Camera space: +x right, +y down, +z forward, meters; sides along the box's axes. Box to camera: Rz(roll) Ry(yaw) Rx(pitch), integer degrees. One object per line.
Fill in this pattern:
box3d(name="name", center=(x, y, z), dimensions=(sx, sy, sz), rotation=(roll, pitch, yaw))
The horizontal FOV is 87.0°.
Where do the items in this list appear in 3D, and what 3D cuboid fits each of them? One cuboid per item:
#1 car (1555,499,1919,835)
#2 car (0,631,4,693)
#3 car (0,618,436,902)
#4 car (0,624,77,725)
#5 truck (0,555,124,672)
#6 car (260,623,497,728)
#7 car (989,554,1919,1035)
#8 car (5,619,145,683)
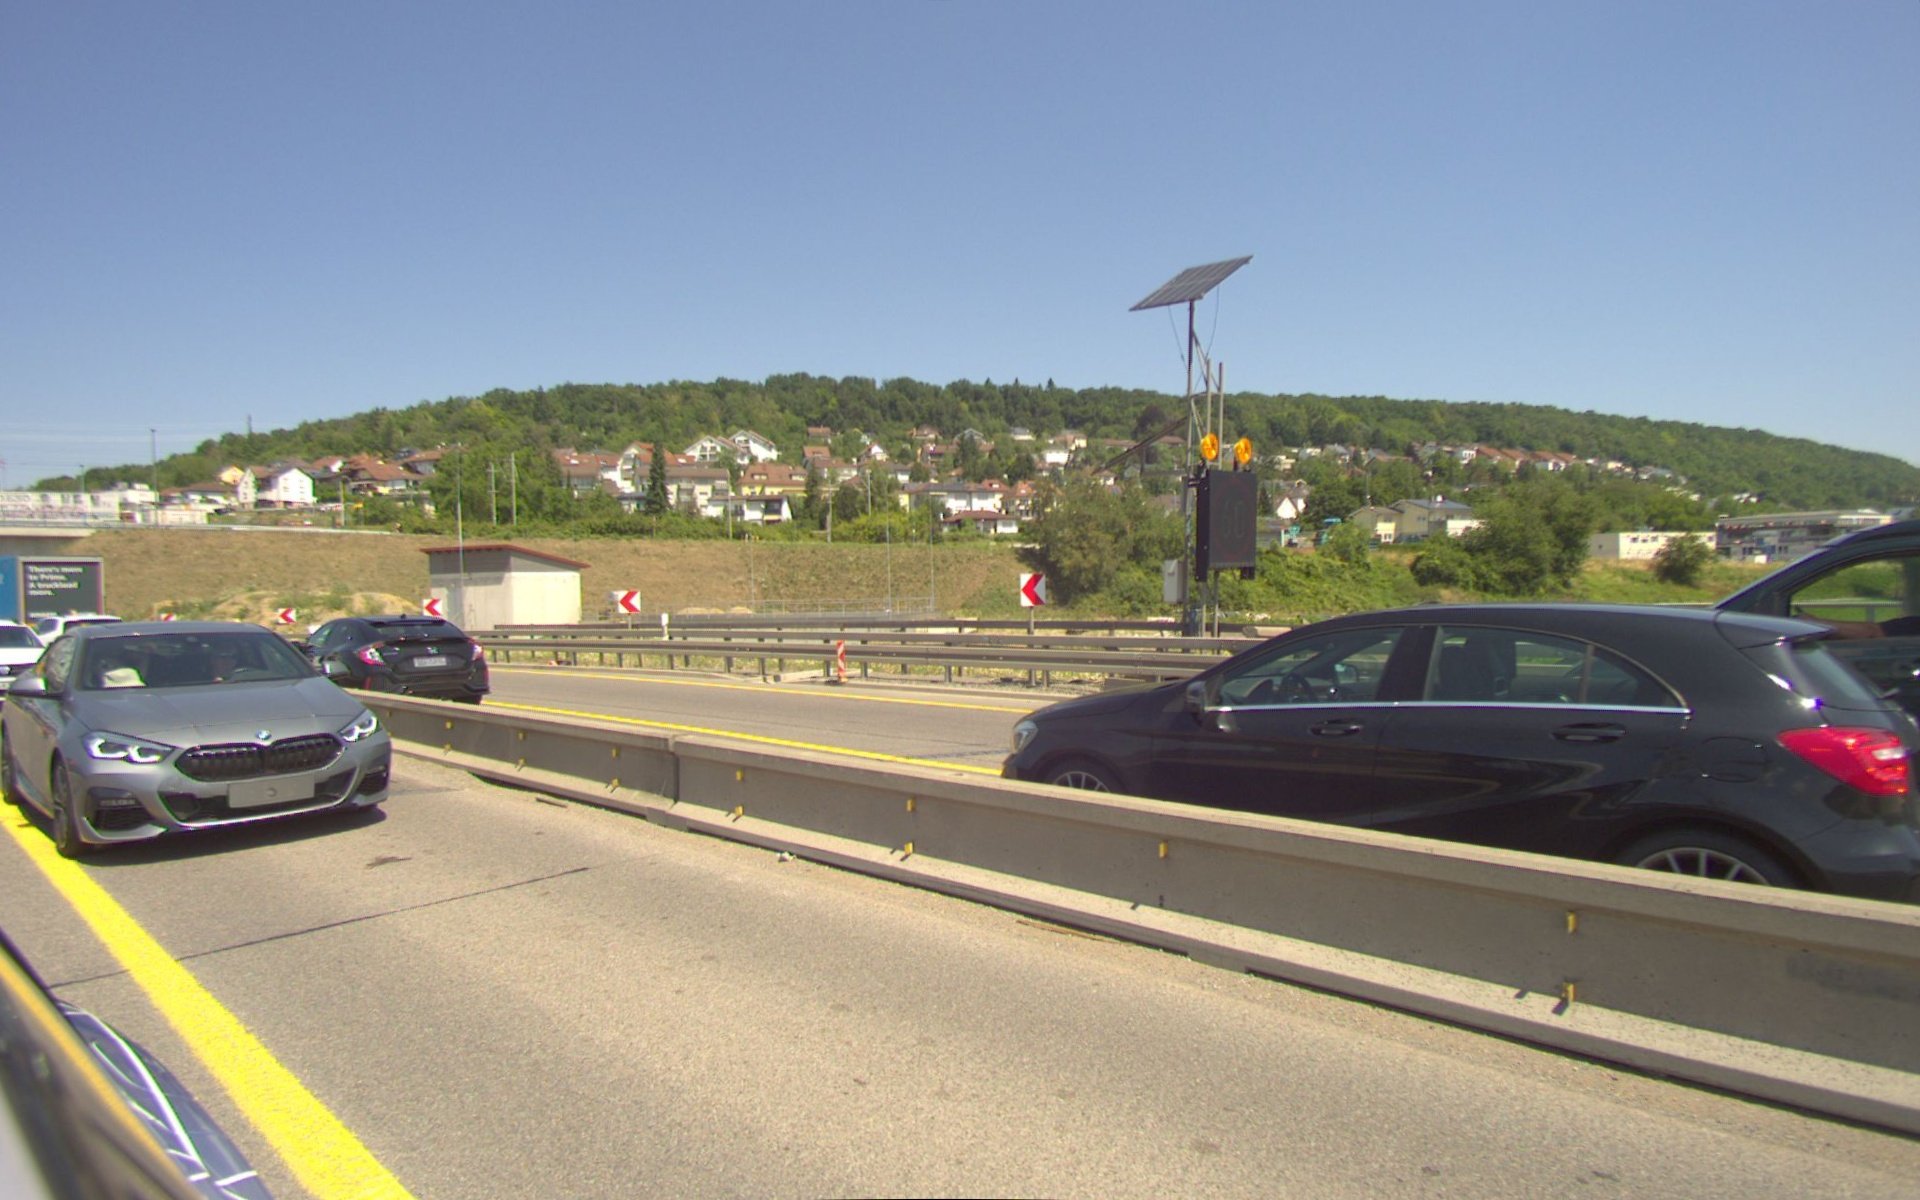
box3d(name="car", center=(6.660, 0.379, 6.157), dimensions=(4.937, 1.948, 1.903), rotation=(-2, -2, 42))
box3d(name="car", center=(-33.253, 2.042, 33.234), dimensions=(3.991, 2.029, 1.976), rotation=(-1, 0, 35))
box3d(name="car", center=(-5.859, 0.909, 7.579), dimensions=(4.739, 1.463, 1.832), rotation=(-2, -1, 41))
box3d(name="car", center=(-16.844, 1.229, 17.222), dimensions=(4.697, 1.542, 1.802), rotation=(-2, -1, 37))
box3d(name="truck", center=(-40.261, 0.674, 41.822), dimensions=(17.269, 4.167, 3.236), rotation=(-1, -2, 31))
box3d(name="car", center=(-8.809, 1.028, 15.142), dimensions=(4.689, 1.332, 1.839), rotation=(-2, -2, 44))
box3d(name="car", center=(2.254, 0.658, 4.937), dimensions=(4.084, 1.484, 1.723), rotation=(-2, -2, 42))
box3d(name="car", center=(-23.214, 1.288, 26.508), dimensions=(4.187, 1.536, 1.991), rotation=(-2, -1, 38))
